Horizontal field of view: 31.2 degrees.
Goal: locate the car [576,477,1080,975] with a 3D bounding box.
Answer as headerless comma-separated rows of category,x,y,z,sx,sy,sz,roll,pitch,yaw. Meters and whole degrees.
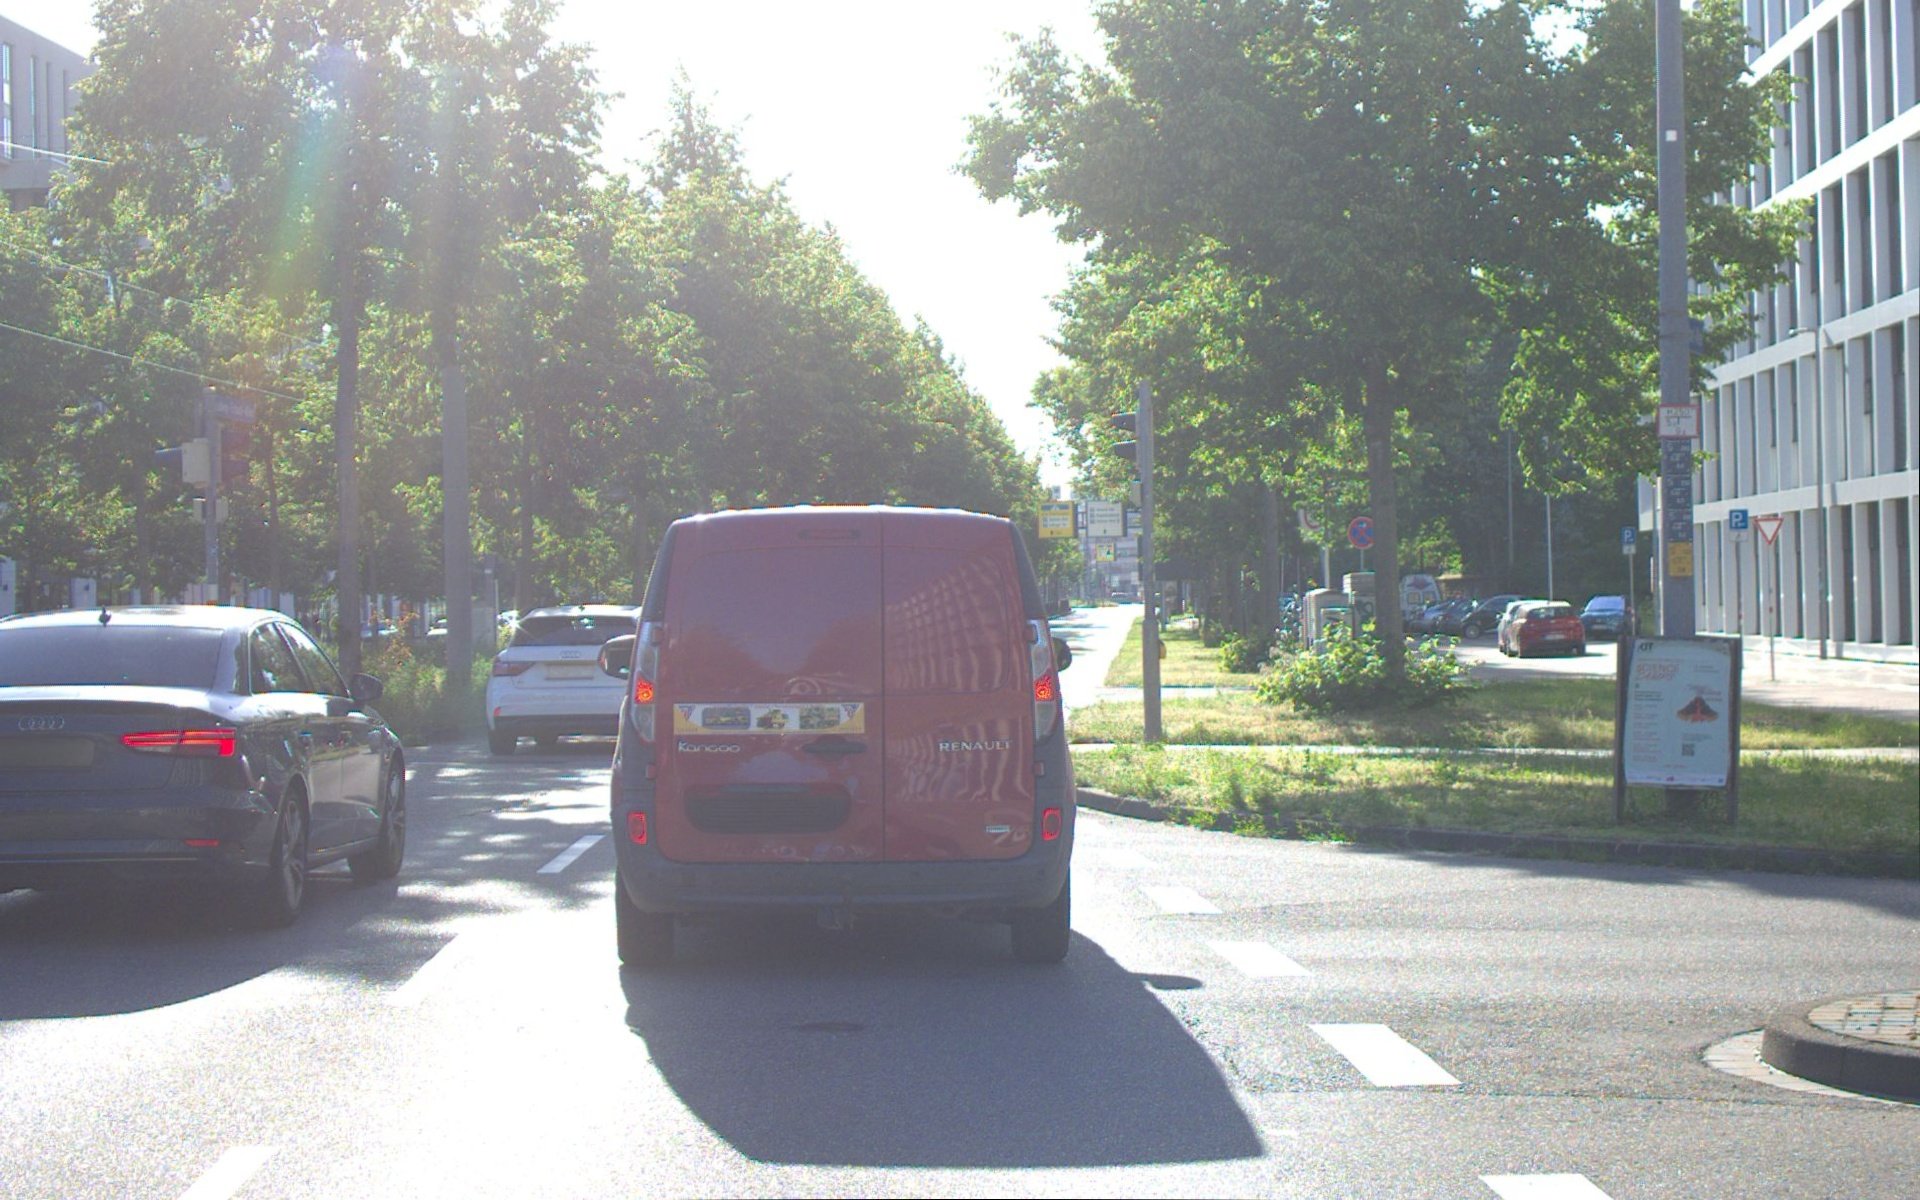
car,-0.561,0.450,14.607,1.808,1.788,4.113,-1,0,-2

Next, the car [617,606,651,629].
car,-22.279,1.187,235.131,1.756,1.568,4.000,-1,0,3

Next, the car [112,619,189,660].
car,-27.856,1.354,118.392,1.580,1.338,3.712,-1,0,3

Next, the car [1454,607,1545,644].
car,20.820,0.971,132.684,3.400,1.354,1.470,-1,0,10

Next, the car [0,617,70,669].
car,-28.855,1.322,105.806,1.776,1.523,3.805,-1,0,3

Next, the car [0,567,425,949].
car,-3.745,0.633,15.883,1.808,1.522,4.113,-1,0,1

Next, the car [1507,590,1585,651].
car,15.986,0.551,93.924,1.758,1.606,3.902,-1,0,5

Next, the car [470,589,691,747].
car,-3.680,0.621,33.910,1.808,1.430,4.113,-1,0,-2

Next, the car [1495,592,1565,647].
car,16.405,0.550,99.085,1.820,1.527,3.436,-1,0,7

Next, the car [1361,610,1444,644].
car,18.630,1.131,144.724,3.400,1.354,1.470,-1,0,10

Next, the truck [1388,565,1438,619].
truck,21.668,-0.368,164.615,1.832,2.492,5.932,-1,0,3

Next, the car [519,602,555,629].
car,-28.021,1.022,227.855,1.732,1.766,4.000,-1,0,3

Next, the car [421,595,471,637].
car,-25.034,0.770,167.637,1.729,2.007,4.000,-1,1,1
